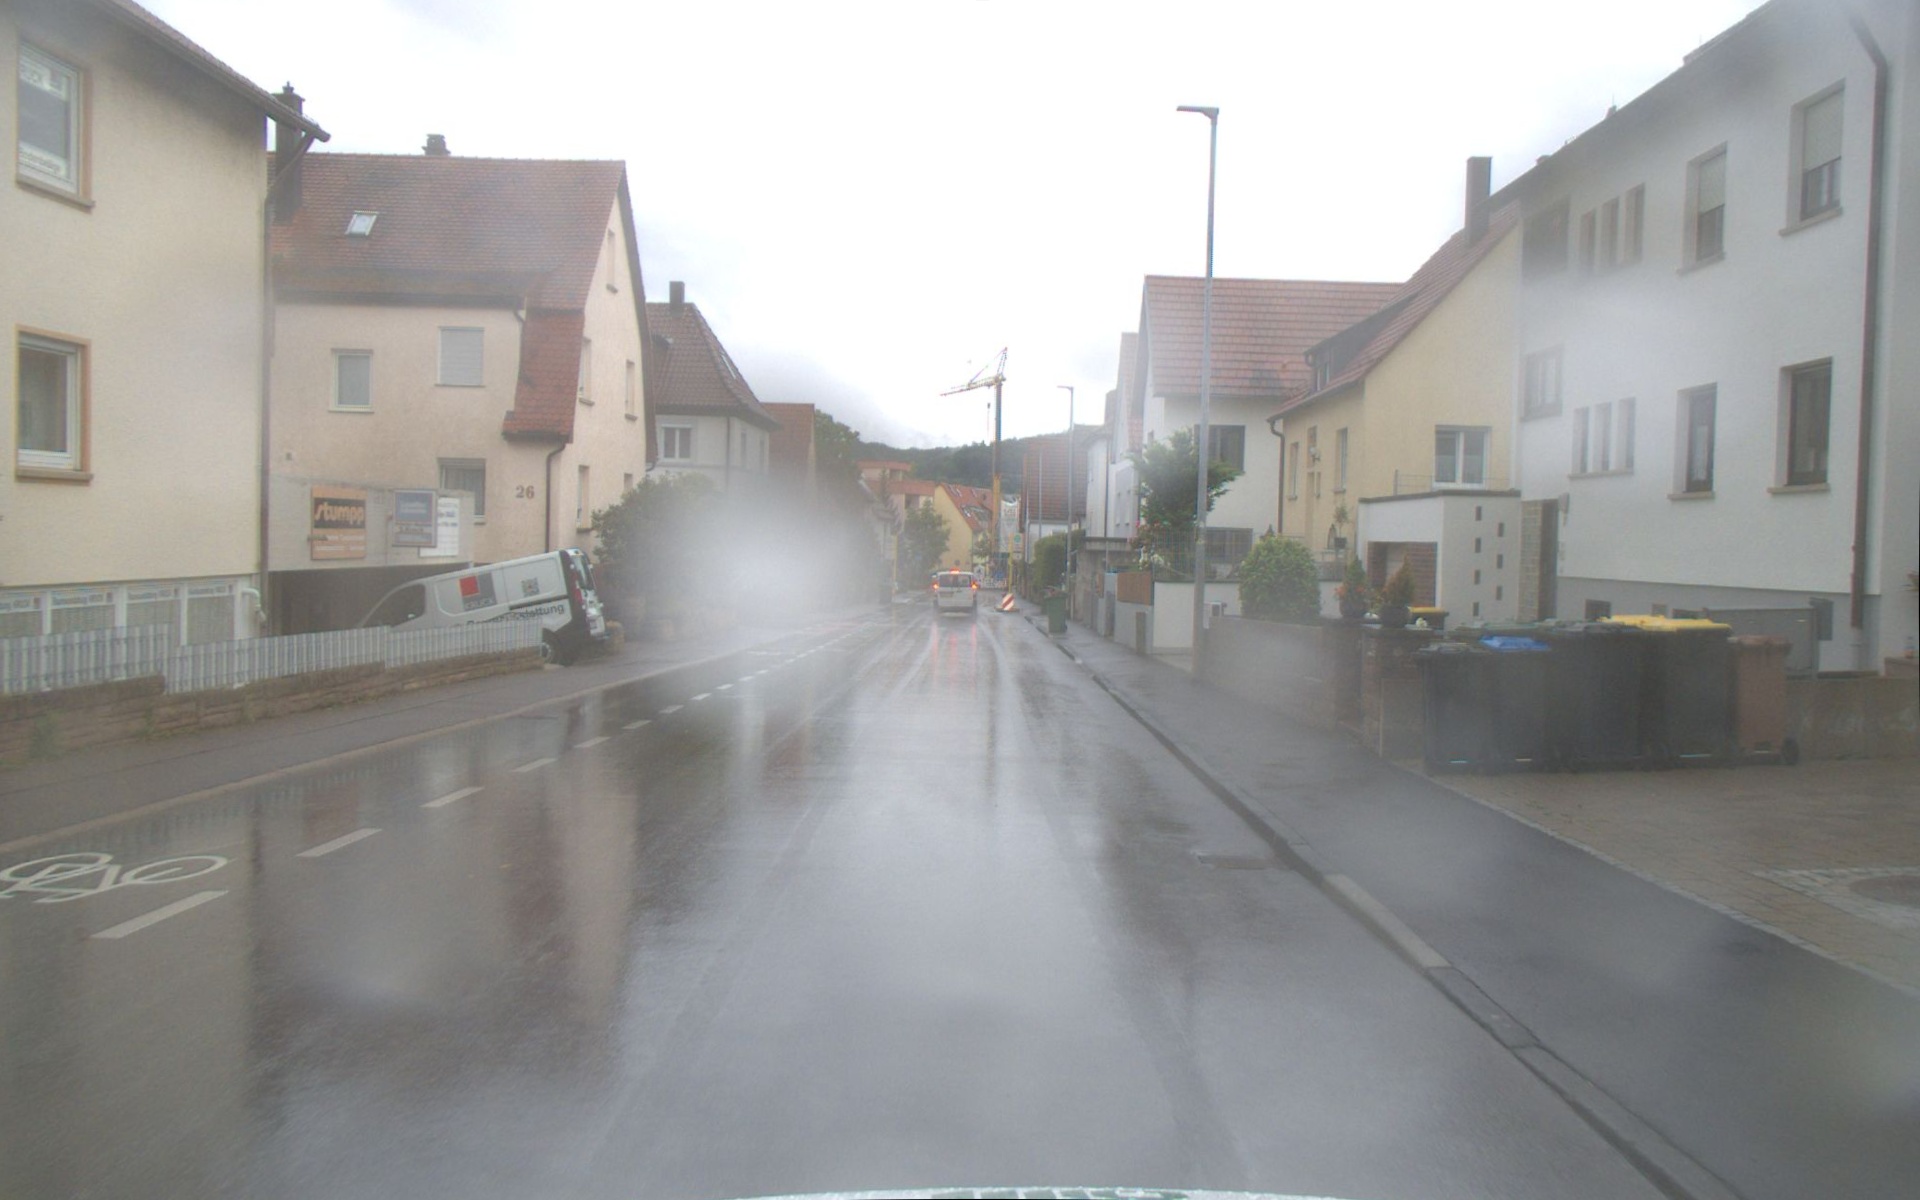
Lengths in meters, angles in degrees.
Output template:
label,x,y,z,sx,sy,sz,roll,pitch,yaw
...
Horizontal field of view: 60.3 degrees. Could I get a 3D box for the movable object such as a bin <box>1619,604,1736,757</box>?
label,x,y,z,sx,sy,sz,roll,pitch,yaw
movable object such as a bin,5.317,0.585,12.278,0.517,1.045,0.632,2,3,-2

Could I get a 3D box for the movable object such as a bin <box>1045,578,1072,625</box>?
label,x,y,z,sx,sy,sz,roll,pitch,yaw
movable object such as a bin,2.844,0.045,47.927,0.730,1.301,0.882,1,3,1

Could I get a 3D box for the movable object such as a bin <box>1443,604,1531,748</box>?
label,x,y,z,sx,sy,sz,roll,pitch,yaw
movable object such as a bin,4.099,0.581,12.894,0.416,1.045,0.632,2,3,-2

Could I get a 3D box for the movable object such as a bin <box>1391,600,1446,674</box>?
label,x,y,z,sx,sy,sz,roll,pitch,yaw
movable object such as a bin,7.255,0.576,26.167,0.637,1.091,0.629,3,3,0

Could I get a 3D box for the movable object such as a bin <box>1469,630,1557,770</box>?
label,x,y,z,sx,sy,sz,roll,pitch,yaw
movable object such as a bin,4.090,0.732,12.257,0.416,0.956,0.508,2,3,-2

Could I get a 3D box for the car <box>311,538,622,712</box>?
label,x,y,z,sx,sy,sz,roll,pitch,yaw
car,-8.493,0.378,28.806,4.467,2.045,2.160,-11,4,0

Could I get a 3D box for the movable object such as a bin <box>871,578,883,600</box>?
label,x,y,z,sx,sy,sz,roll,pitch,yaw
movable object such as a bin,-4.899,-0.665,97.385,0.669,1.244,0.639,2,3,-5

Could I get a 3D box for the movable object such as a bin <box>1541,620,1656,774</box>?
label,x,y,z,sx,sy,sz,roll,pitch,yaw
movable object such as a bin,4.716,0.707,12.241,0.533,1.045,0.632,2,3,-2

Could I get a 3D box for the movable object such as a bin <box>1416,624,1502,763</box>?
label,x,y,z,sx,sy,sz,roll,pitch,yaw
movable object such as a bin,3.689,0.682,12.248,0.416,0.956,0.508,2,3,-2

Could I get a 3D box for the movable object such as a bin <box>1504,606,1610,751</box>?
label,x,y,z,sx,sy,sz,roll,pitch,yaw
movable object such as a bin,4.657,0.603,12.929,0.533,1.045,0.632,2,3,-2

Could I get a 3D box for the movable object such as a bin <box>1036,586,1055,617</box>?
label,x,y,z,sx,sy,sz,roll,pitch,yaw
movable object such as a bin,3.888,0.067,75.171,0.769,1.299,0.714,3,3,4

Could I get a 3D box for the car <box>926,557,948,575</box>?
label,x,y,z,sx,sy,sz,roll,pitch,yaw
car,-2.359,-3.593,172.234,1.803,1.605,4.294,3,4,5

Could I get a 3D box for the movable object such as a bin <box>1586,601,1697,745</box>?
label,x,y,z,sx,sy,sz,roll,pitch,yaw
movable object such as a bin,5.325,0.560,12.949,0.533,1.045,0.632,2,3,-2

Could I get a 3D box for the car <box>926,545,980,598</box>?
label,x,y,z,sx,sy,sz,roll,pitch,yaw
car,-0.255,-1.243,69.807,2.073,1.920,4.504,3,4,1
